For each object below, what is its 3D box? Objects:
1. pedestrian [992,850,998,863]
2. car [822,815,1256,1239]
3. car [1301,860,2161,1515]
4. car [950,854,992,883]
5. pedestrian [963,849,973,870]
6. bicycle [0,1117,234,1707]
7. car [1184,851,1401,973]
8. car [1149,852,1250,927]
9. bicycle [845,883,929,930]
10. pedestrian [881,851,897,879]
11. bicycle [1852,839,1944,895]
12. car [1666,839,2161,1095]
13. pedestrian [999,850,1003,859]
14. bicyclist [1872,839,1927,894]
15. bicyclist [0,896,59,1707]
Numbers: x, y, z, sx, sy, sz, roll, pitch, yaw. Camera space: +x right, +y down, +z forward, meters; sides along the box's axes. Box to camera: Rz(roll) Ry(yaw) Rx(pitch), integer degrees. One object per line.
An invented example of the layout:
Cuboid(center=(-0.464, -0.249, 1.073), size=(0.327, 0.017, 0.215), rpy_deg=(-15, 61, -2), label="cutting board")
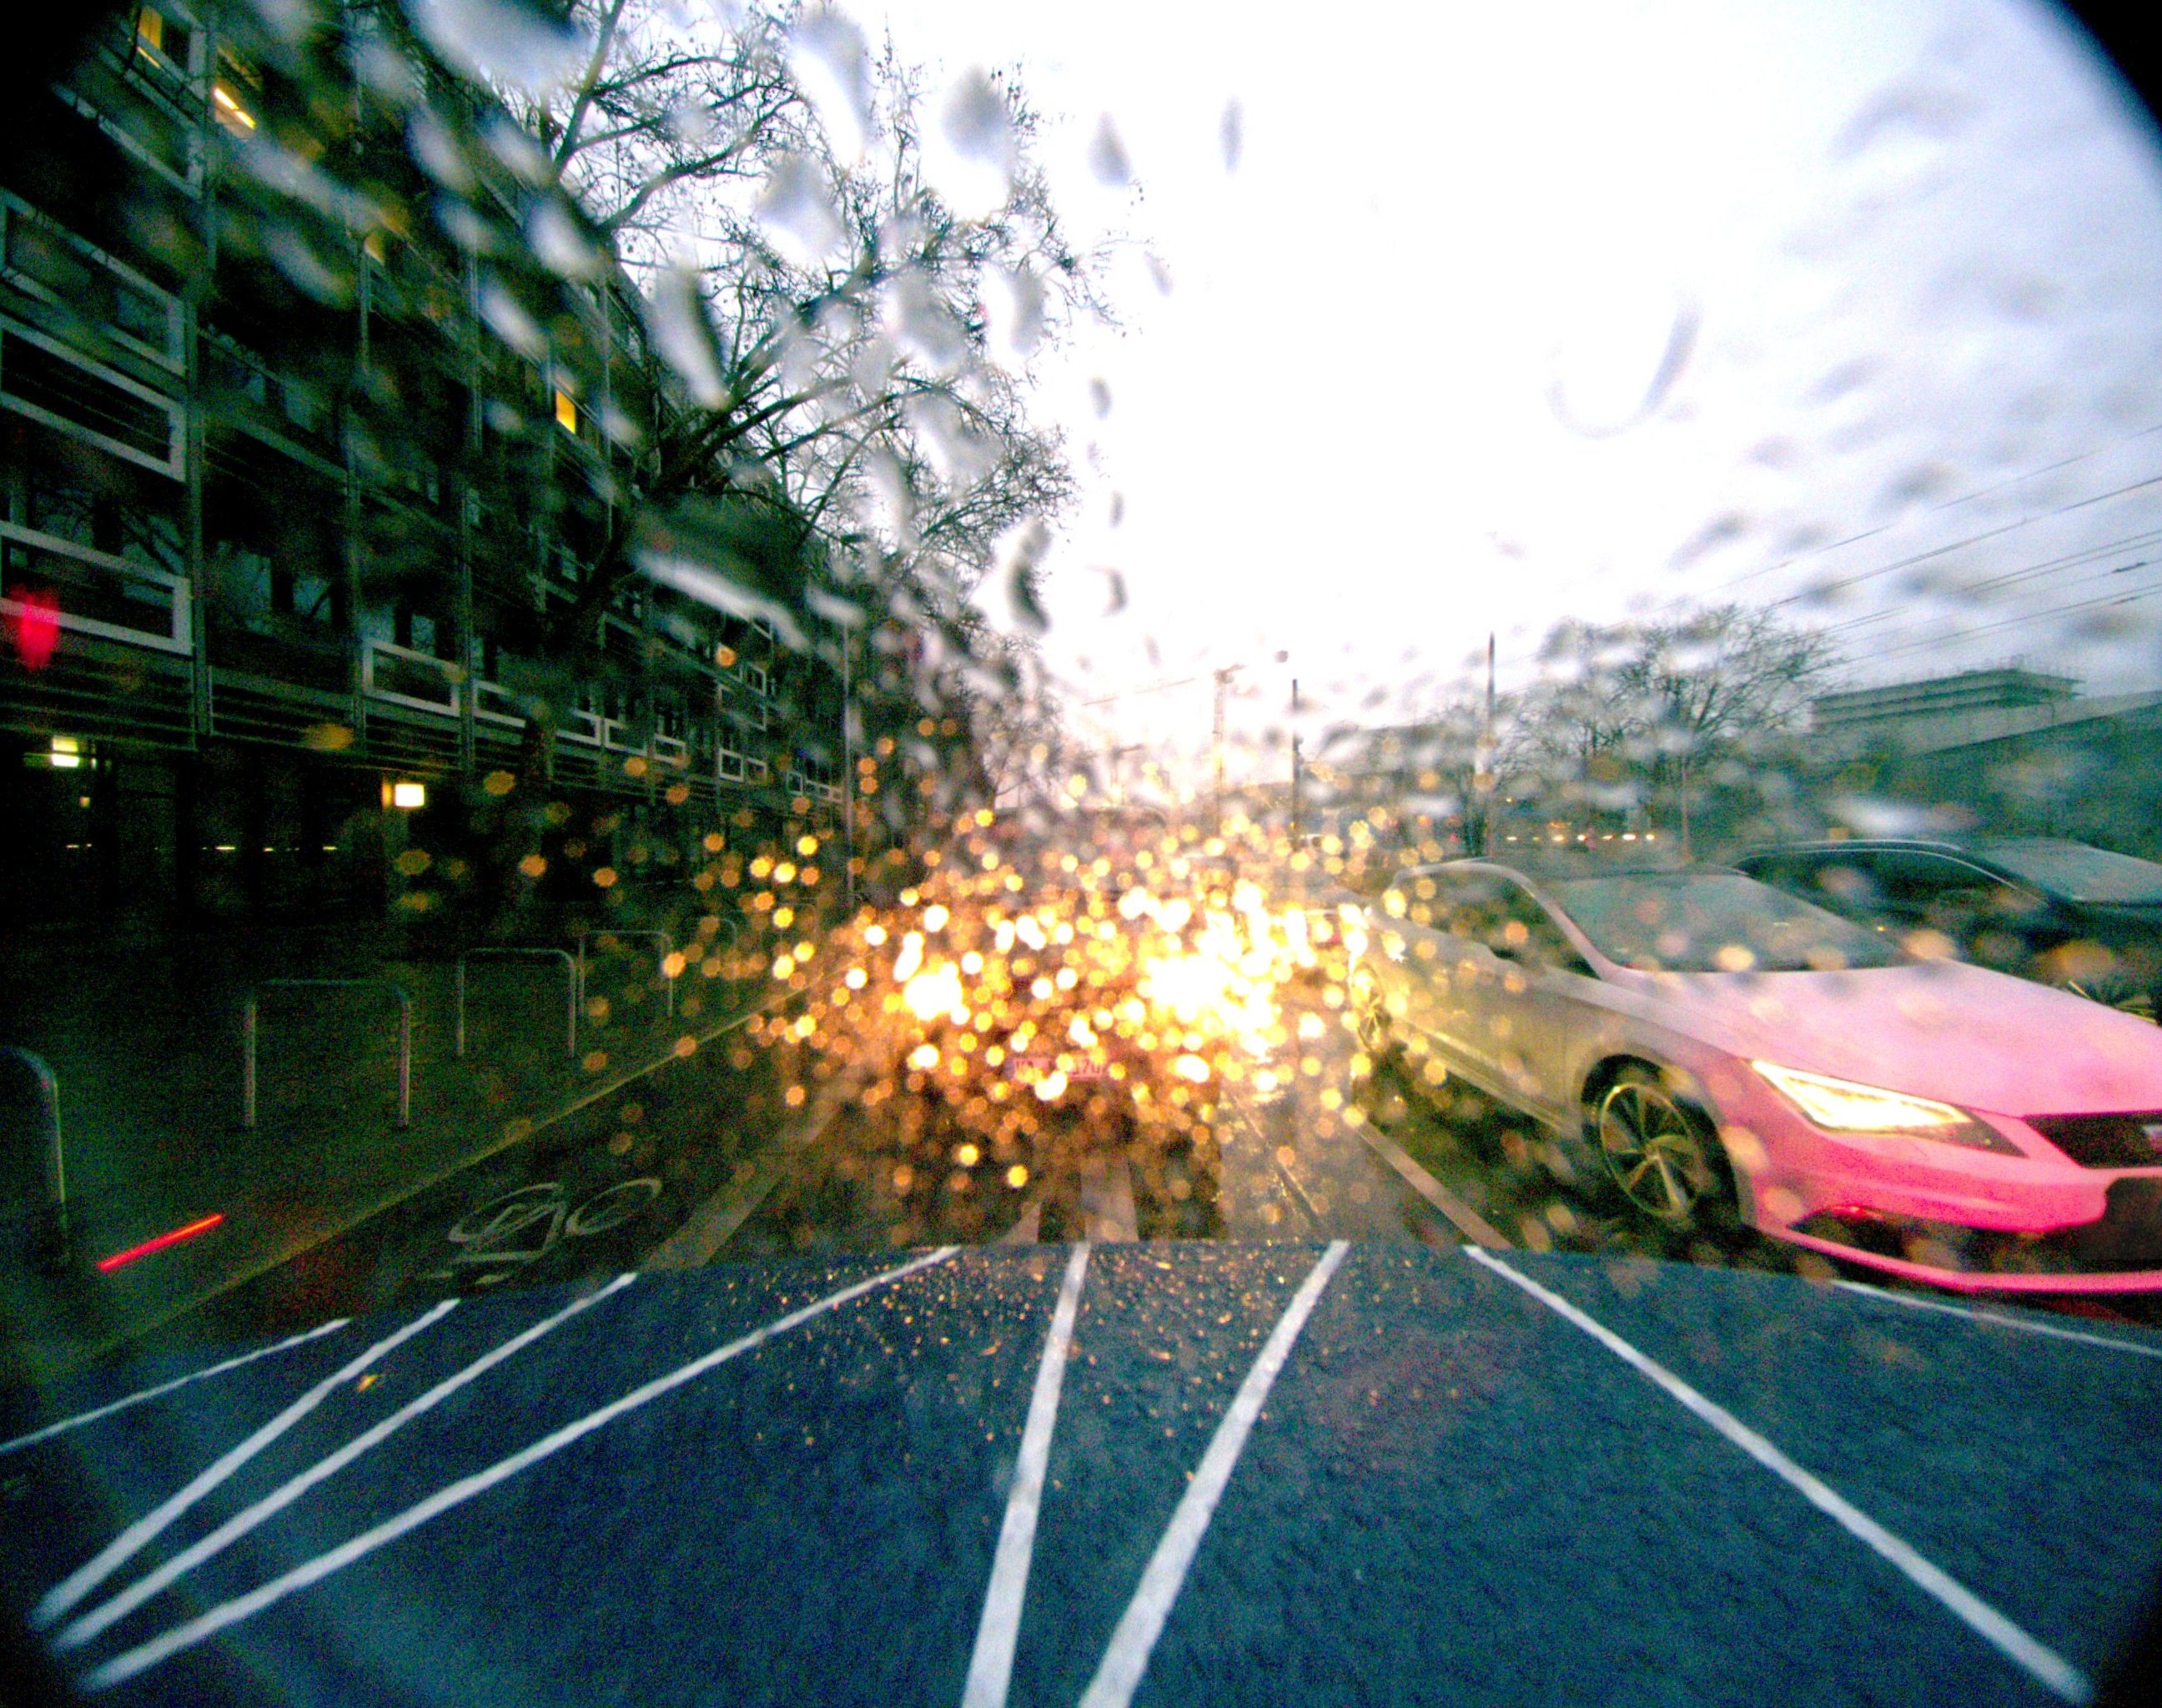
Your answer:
Cuboid(center=(-12.163, 0.359, 107.941), size=(0.766, 1.740, 0.928), rpy_deg=(0, 1, -4), label="pedestrian")
Cuboid(center=(-0.237, 0.754, 5.418), size=(1.878, 1.830, 3.999), rpy_deg=(-2, 1, -2), label="car")
Cuboid(center=(2.984, 0.841, 4.175), size=(1.949, 1.478, 4.504), rpy_deg=(-2, 0, -4), label="car")
Cuboid(center=(-6.211, 0.800, 43.423), size=(1.713, 1.455, 3.999), rpy_deg=(-2, 1, 1), label="car")
Cuboid(center=(-9.546, 0.494, 64.294), size=(0.766, 1.740, 0.928), rpy_deg=(0, 1, -4), label="pedestrian")
Cuboid(center=(-2.501, 1.206, 1.011), size=(0.710, 1.088, 1.784), rpy_deg=(-1, 0, 1), label="bicycle")
Cuboid(center=(2.921, 0.702, 11.627), size=(1.999, 1.478, 4.505), rpy_deg=(-1, 0, -1), label="car")
Cuboid(center=(2.845, 0.797, 19.131), size=(1.907, 1.565, 3.999), rpy_deg=(-2, 1, 1), label="car")
Cuboid(center=(-4.478, 1.207, 17.662), size=(1.704, 0.987, 0.879), rpy_deg=(1, 1, 0), label="bicycle")
Cuboid(center=(-12.108, 0.709, 47.969), size=(0.766, 1.740, 0.928), rpy_deg=(0, 1, -4), label="pedestrian")
Cuboid(center=(26.983, 0.399, 25.153), size=(0.763, 1.723, 2.063), rpy_deg=(-2, 2, -2), label="bicycle")
Cuboid(center=(7.357, 0.653, 5.990), size=(1.853, 1.499, 4.662), rpy_deg=(-1, 1, -1), label="car")
Cuboid(center=(-14.940, 0.047, 142.308), size=(0.766, 1.740, 0.928), rpy_deg=(0, 1, -4), label="pedestrian")
Cuboid(center=(26.987, 0.399, 25.071), size=(0.763, 1.723, 0.961), rpy_deg=(-2, 2, -2), label="bicyclist")
Cuboid(center=(-2.501, 0.915, 1.097), size=(0.704, 1.650, 0.964), rpy_deg=(-1, 0, 1), label="bicyclist")
